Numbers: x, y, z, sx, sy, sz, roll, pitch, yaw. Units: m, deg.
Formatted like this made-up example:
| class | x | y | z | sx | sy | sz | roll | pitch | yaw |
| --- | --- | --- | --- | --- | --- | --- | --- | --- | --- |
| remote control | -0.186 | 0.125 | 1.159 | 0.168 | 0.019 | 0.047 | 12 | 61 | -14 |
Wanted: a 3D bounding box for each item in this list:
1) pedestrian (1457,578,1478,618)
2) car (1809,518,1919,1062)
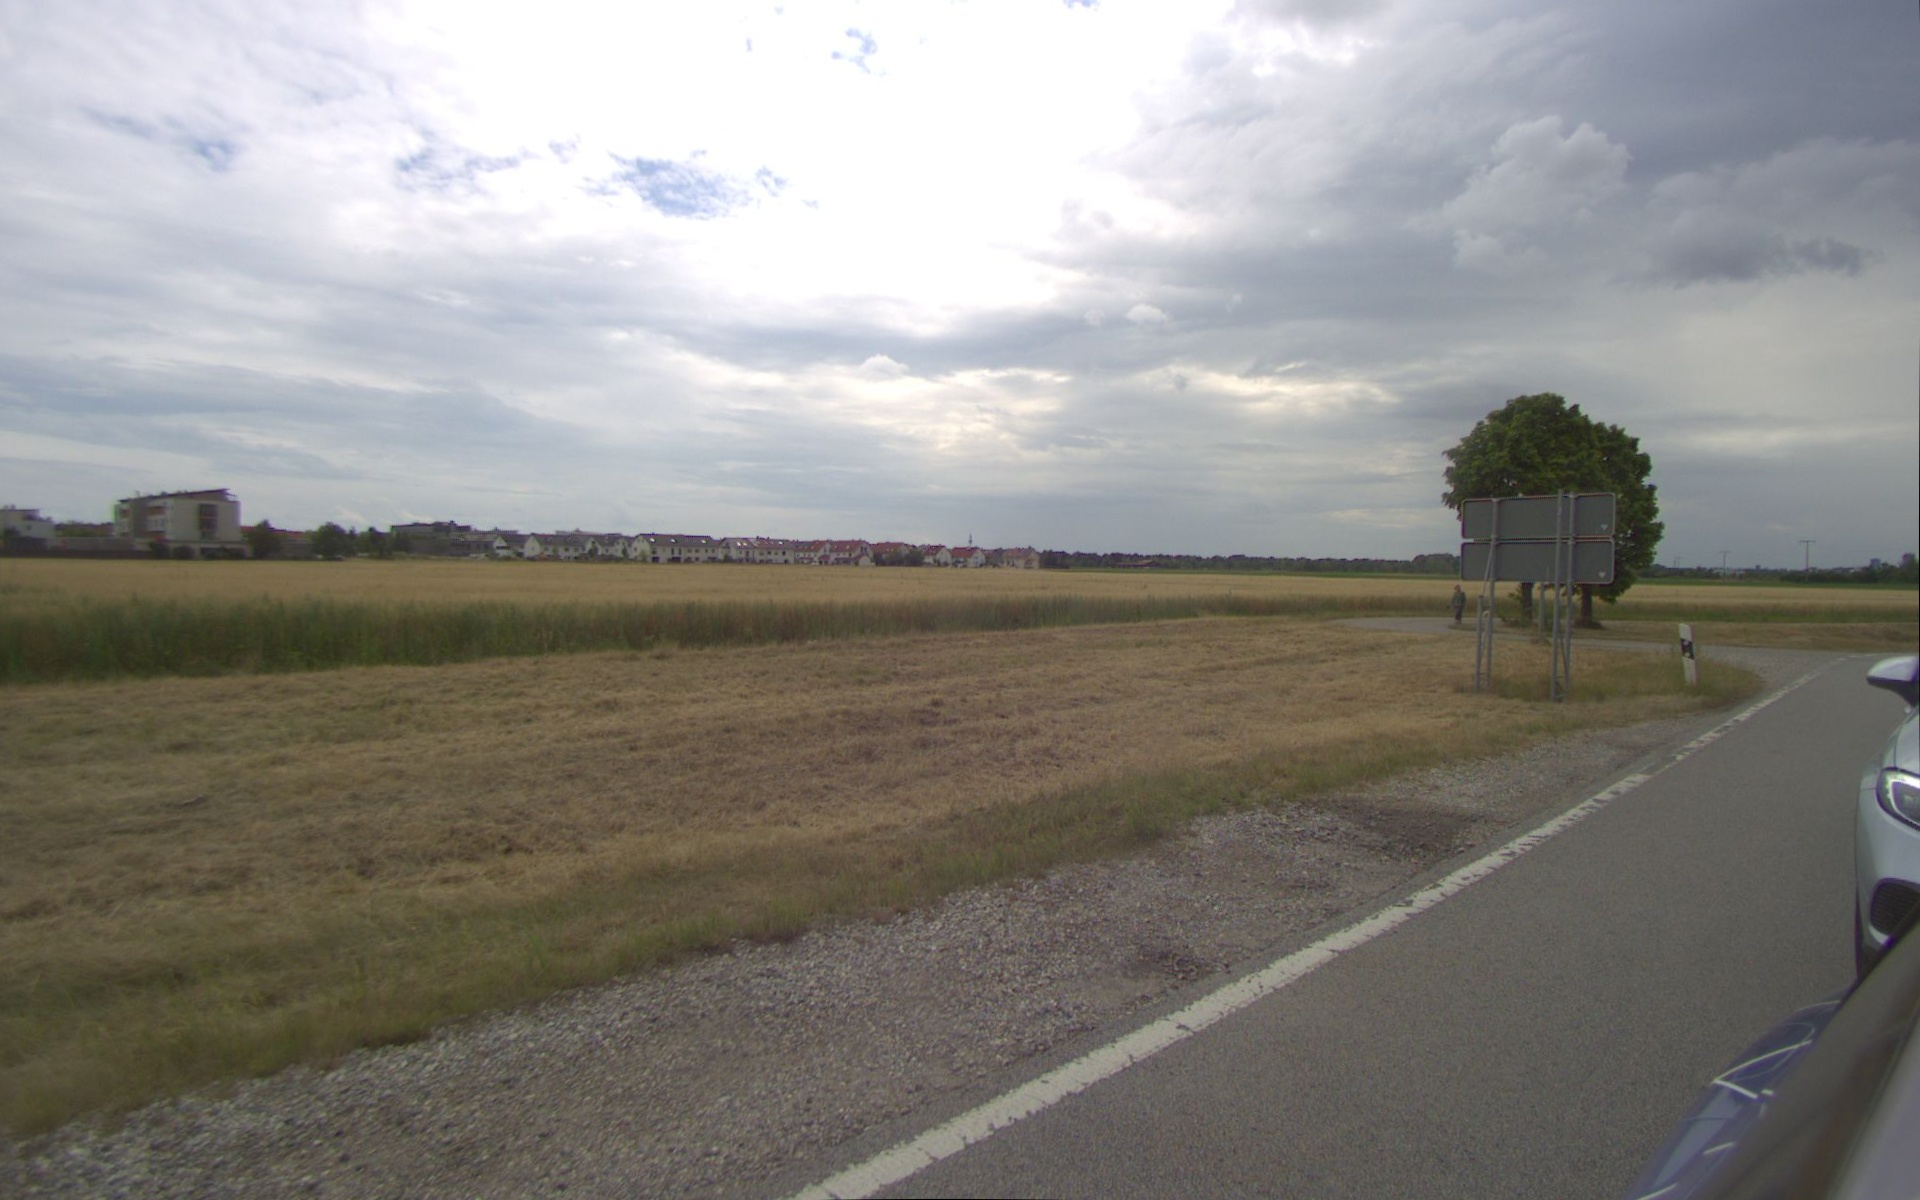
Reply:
| class | x | y | z | sx | sy | sz | roll | pitch | yaw |
| --- | --- | --- | --- | --- | --- | --- | --- | --- | --- |
| pedestrian | 21.221 | -0.080 | 42.313 | 0.766 | 1.631 | 0.936 | 2 | 2 | 28 |
| car | 4.927 | 0.528 | 3.865 | 4.319 | 1.606 | 1.993 | -1 | 1 | -42 |
